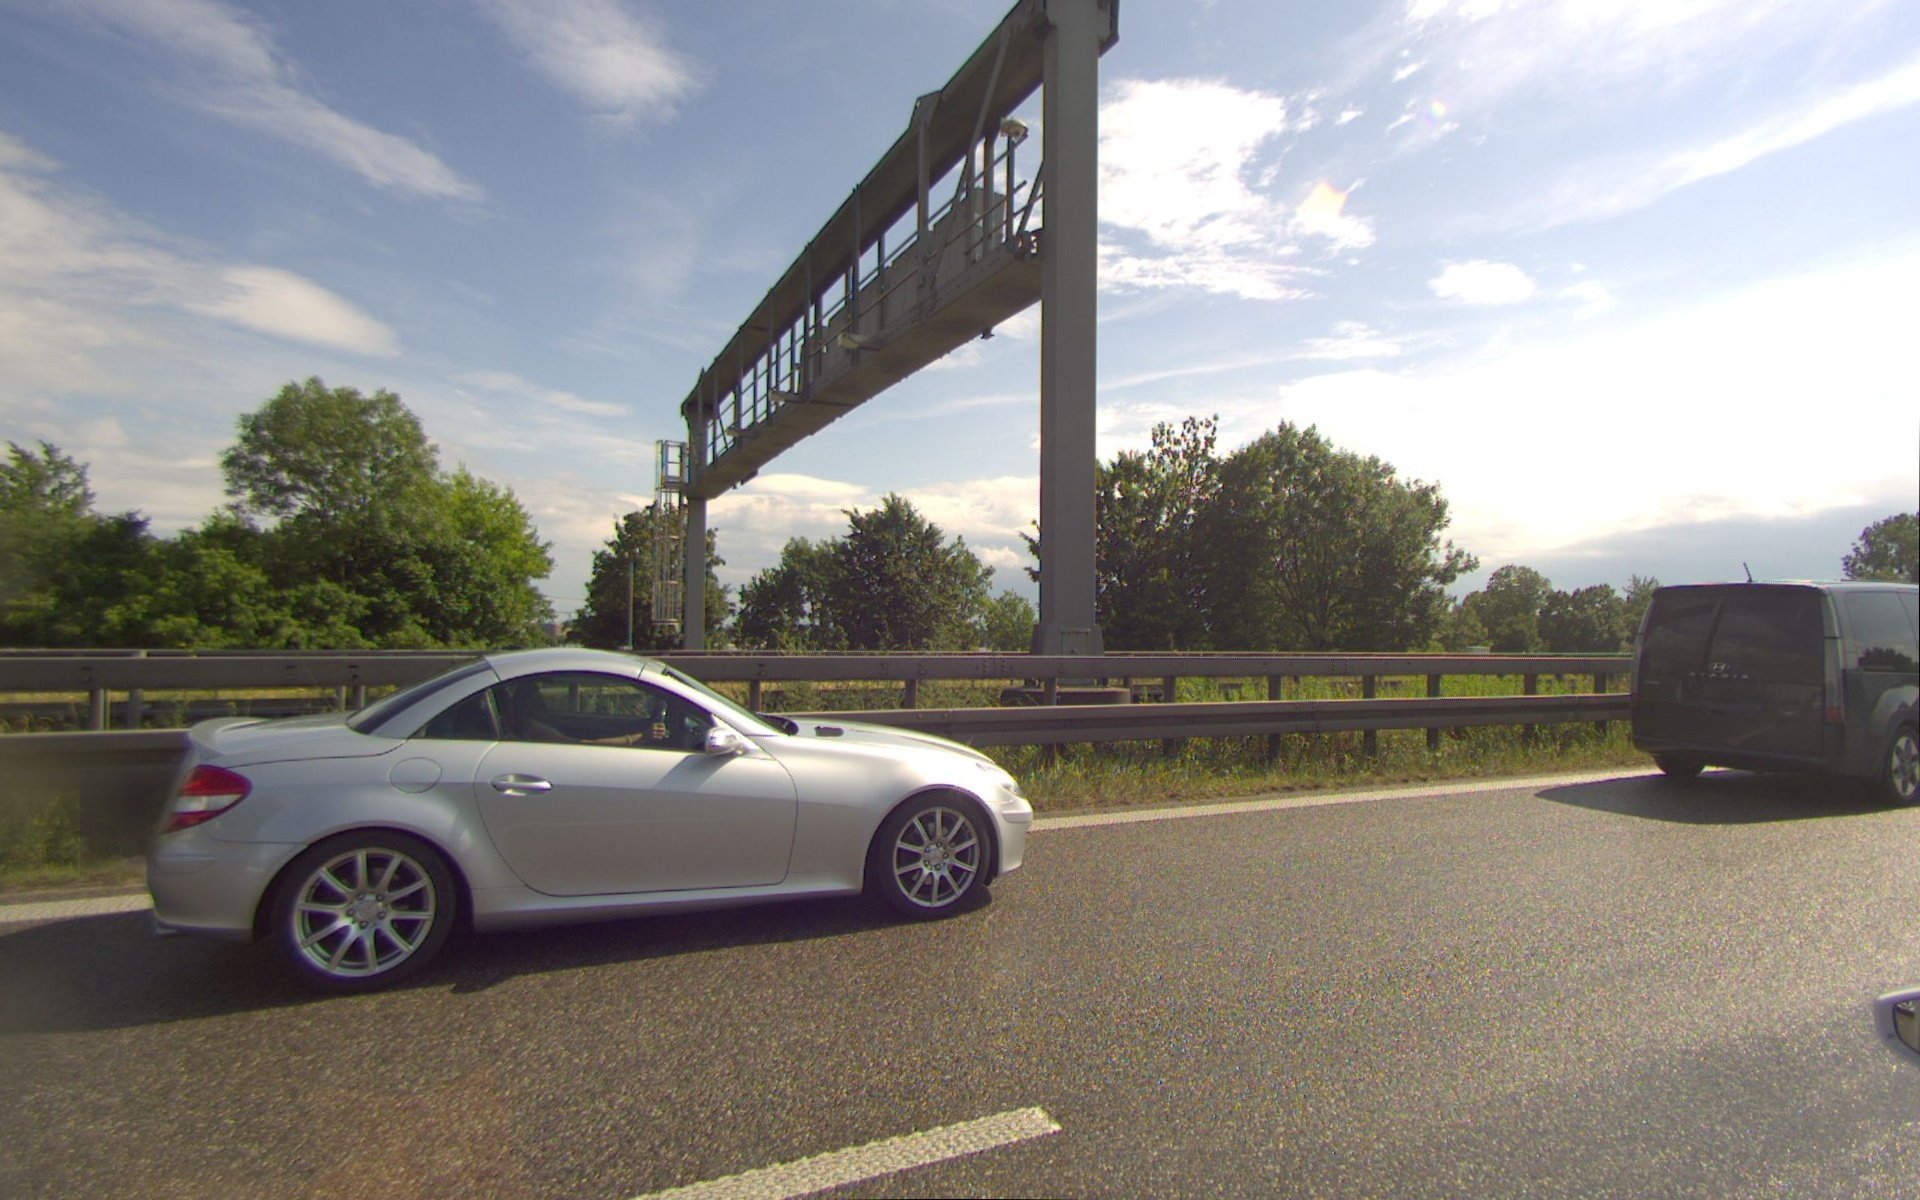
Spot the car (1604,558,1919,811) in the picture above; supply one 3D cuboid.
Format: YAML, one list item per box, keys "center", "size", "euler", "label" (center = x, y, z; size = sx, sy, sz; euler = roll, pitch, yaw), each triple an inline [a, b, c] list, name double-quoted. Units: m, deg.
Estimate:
- center: [9.126, 0.756, 10.138]
  size: [5.198, 2.040, 1.987]
  euler: [1, -1, -25]
  label: "car"

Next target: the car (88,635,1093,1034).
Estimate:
- center: [-1.486, 0.859, 5.042]
  size: [4.010, 1.295, 1.719]
  euler: [2, -1, -26]
  label: "car"
